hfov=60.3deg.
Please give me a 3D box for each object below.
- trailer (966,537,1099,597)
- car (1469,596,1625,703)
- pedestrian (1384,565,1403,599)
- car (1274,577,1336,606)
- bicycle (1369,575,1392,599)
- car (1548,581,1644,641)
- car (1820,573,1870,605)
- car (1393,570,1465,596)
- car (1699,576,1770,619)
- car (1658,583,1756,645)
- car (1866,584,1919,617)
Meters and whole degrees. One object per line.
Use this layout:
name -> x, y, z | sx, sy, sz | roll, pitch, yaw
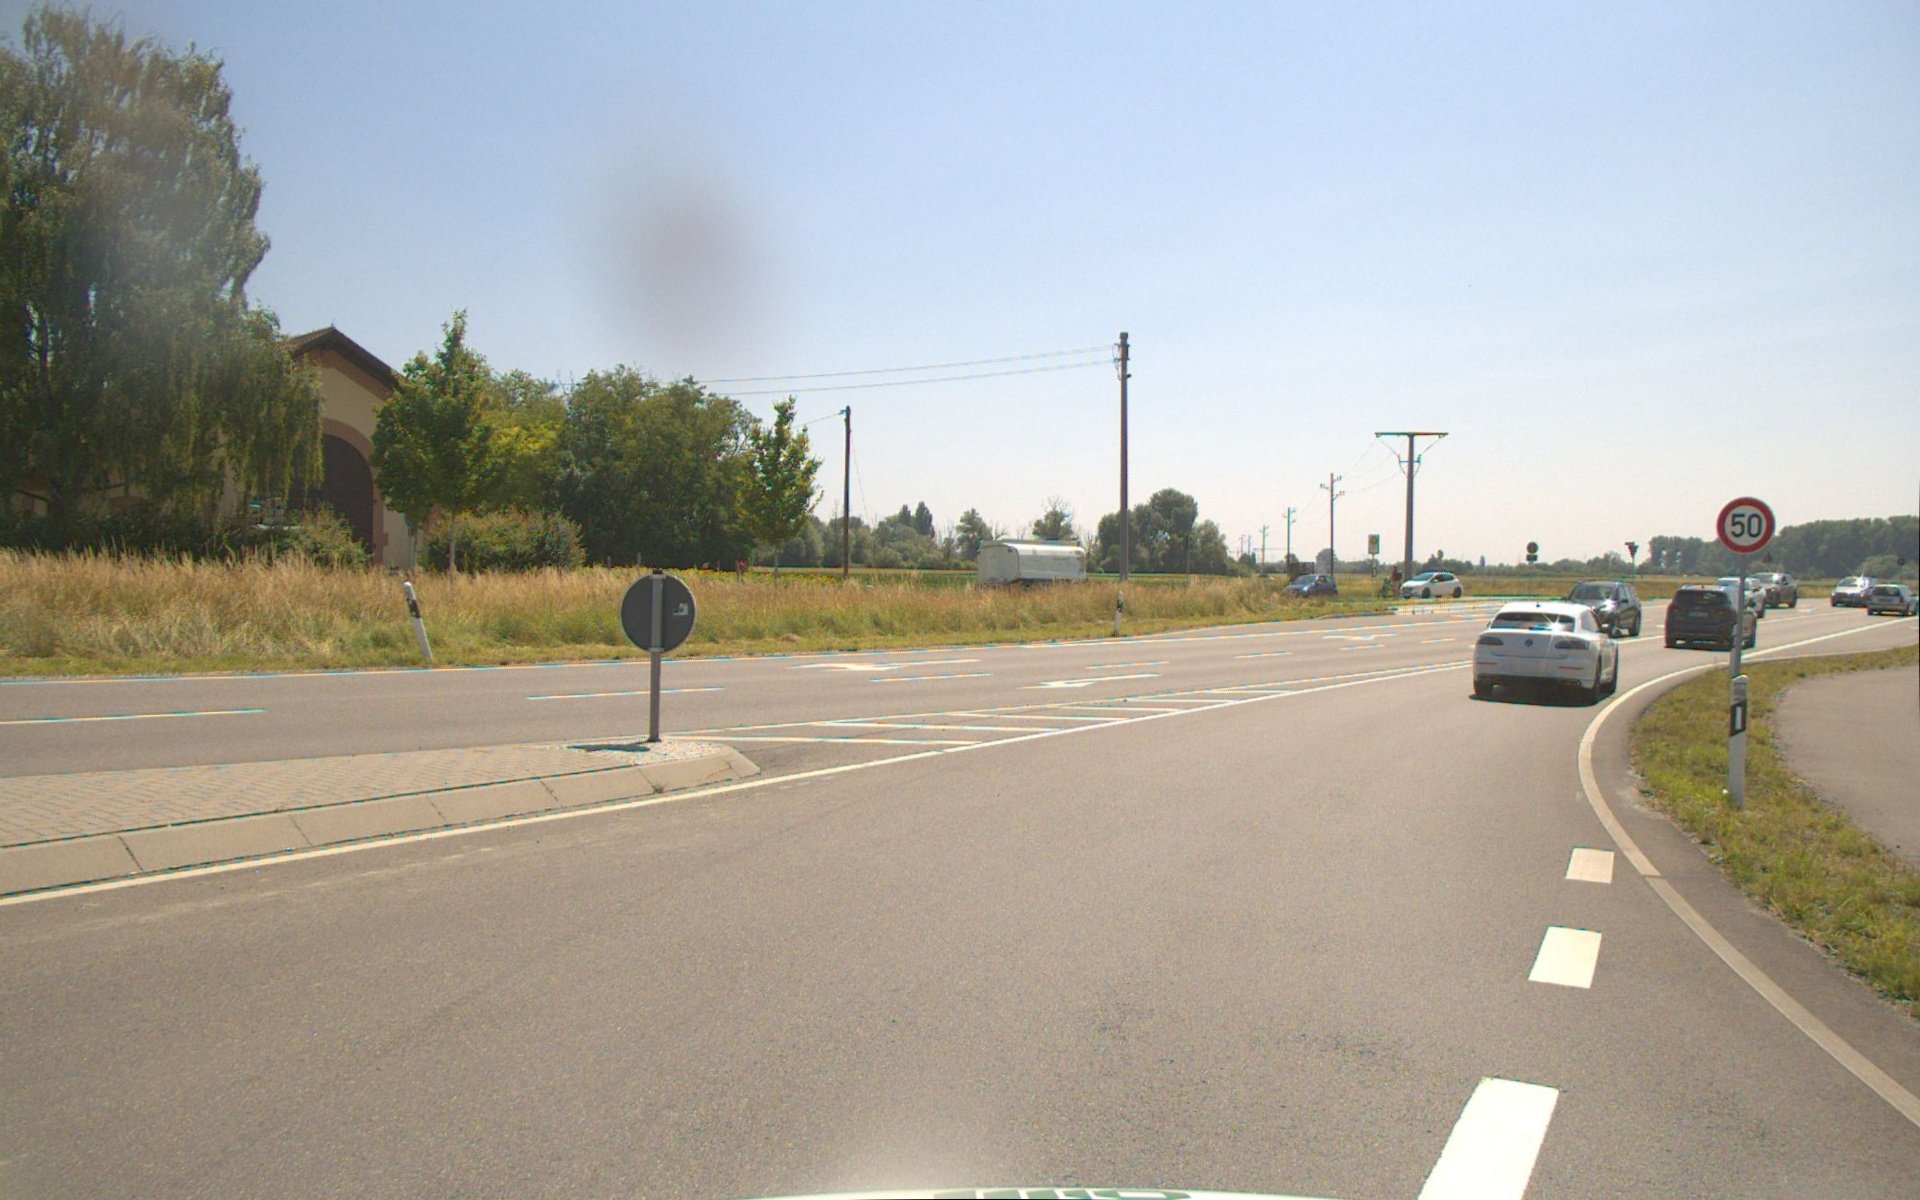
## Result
trailer -> 3.279, -1.443, 72.861 | 2.635, 2.498, 6.354 | 3, 2, 38
car -> 9.347, 0.711, 26.123 | 1.812, 1.458, 4.604 | 3, 1, 26
pedestrian -> 23.260, -0.959, 88.790 | 0.600, 1.816, 0.840 | 3, 1, 44
car -> 18.028, -0.424, 86.363 | 1.647, 1.411, 3.822 | 3, 1, 37
bicycle -> 22.581, -0.688, 88.867 | 0.484, 1.269, 1.501 | 3, 1, 43
car -> 19.511, 0.292, 50.630 | 1.833, 1.679, 4.315 | 2, 2, 33
car -> 48.062, -0.609, 89.807 | 1.704, 1.583, 4.395 | 0, 2, 38
car -> 27.357, -0.986, 96.482 | 3.980, 1.355, 1.681 | 1, 2, -30
car -> 32.889, -0.113, 70.201 | 1.847, 1.679, 4.825 | 3, 2, 35
car -> 20.890, 0.405, 46.164 | 1.900, 1.645, 4.366 | 0, -1, 32
car -> 44.208, 0.042, 78.282 | 1.770, 1.454, 4.075 | -1, -2, 37
